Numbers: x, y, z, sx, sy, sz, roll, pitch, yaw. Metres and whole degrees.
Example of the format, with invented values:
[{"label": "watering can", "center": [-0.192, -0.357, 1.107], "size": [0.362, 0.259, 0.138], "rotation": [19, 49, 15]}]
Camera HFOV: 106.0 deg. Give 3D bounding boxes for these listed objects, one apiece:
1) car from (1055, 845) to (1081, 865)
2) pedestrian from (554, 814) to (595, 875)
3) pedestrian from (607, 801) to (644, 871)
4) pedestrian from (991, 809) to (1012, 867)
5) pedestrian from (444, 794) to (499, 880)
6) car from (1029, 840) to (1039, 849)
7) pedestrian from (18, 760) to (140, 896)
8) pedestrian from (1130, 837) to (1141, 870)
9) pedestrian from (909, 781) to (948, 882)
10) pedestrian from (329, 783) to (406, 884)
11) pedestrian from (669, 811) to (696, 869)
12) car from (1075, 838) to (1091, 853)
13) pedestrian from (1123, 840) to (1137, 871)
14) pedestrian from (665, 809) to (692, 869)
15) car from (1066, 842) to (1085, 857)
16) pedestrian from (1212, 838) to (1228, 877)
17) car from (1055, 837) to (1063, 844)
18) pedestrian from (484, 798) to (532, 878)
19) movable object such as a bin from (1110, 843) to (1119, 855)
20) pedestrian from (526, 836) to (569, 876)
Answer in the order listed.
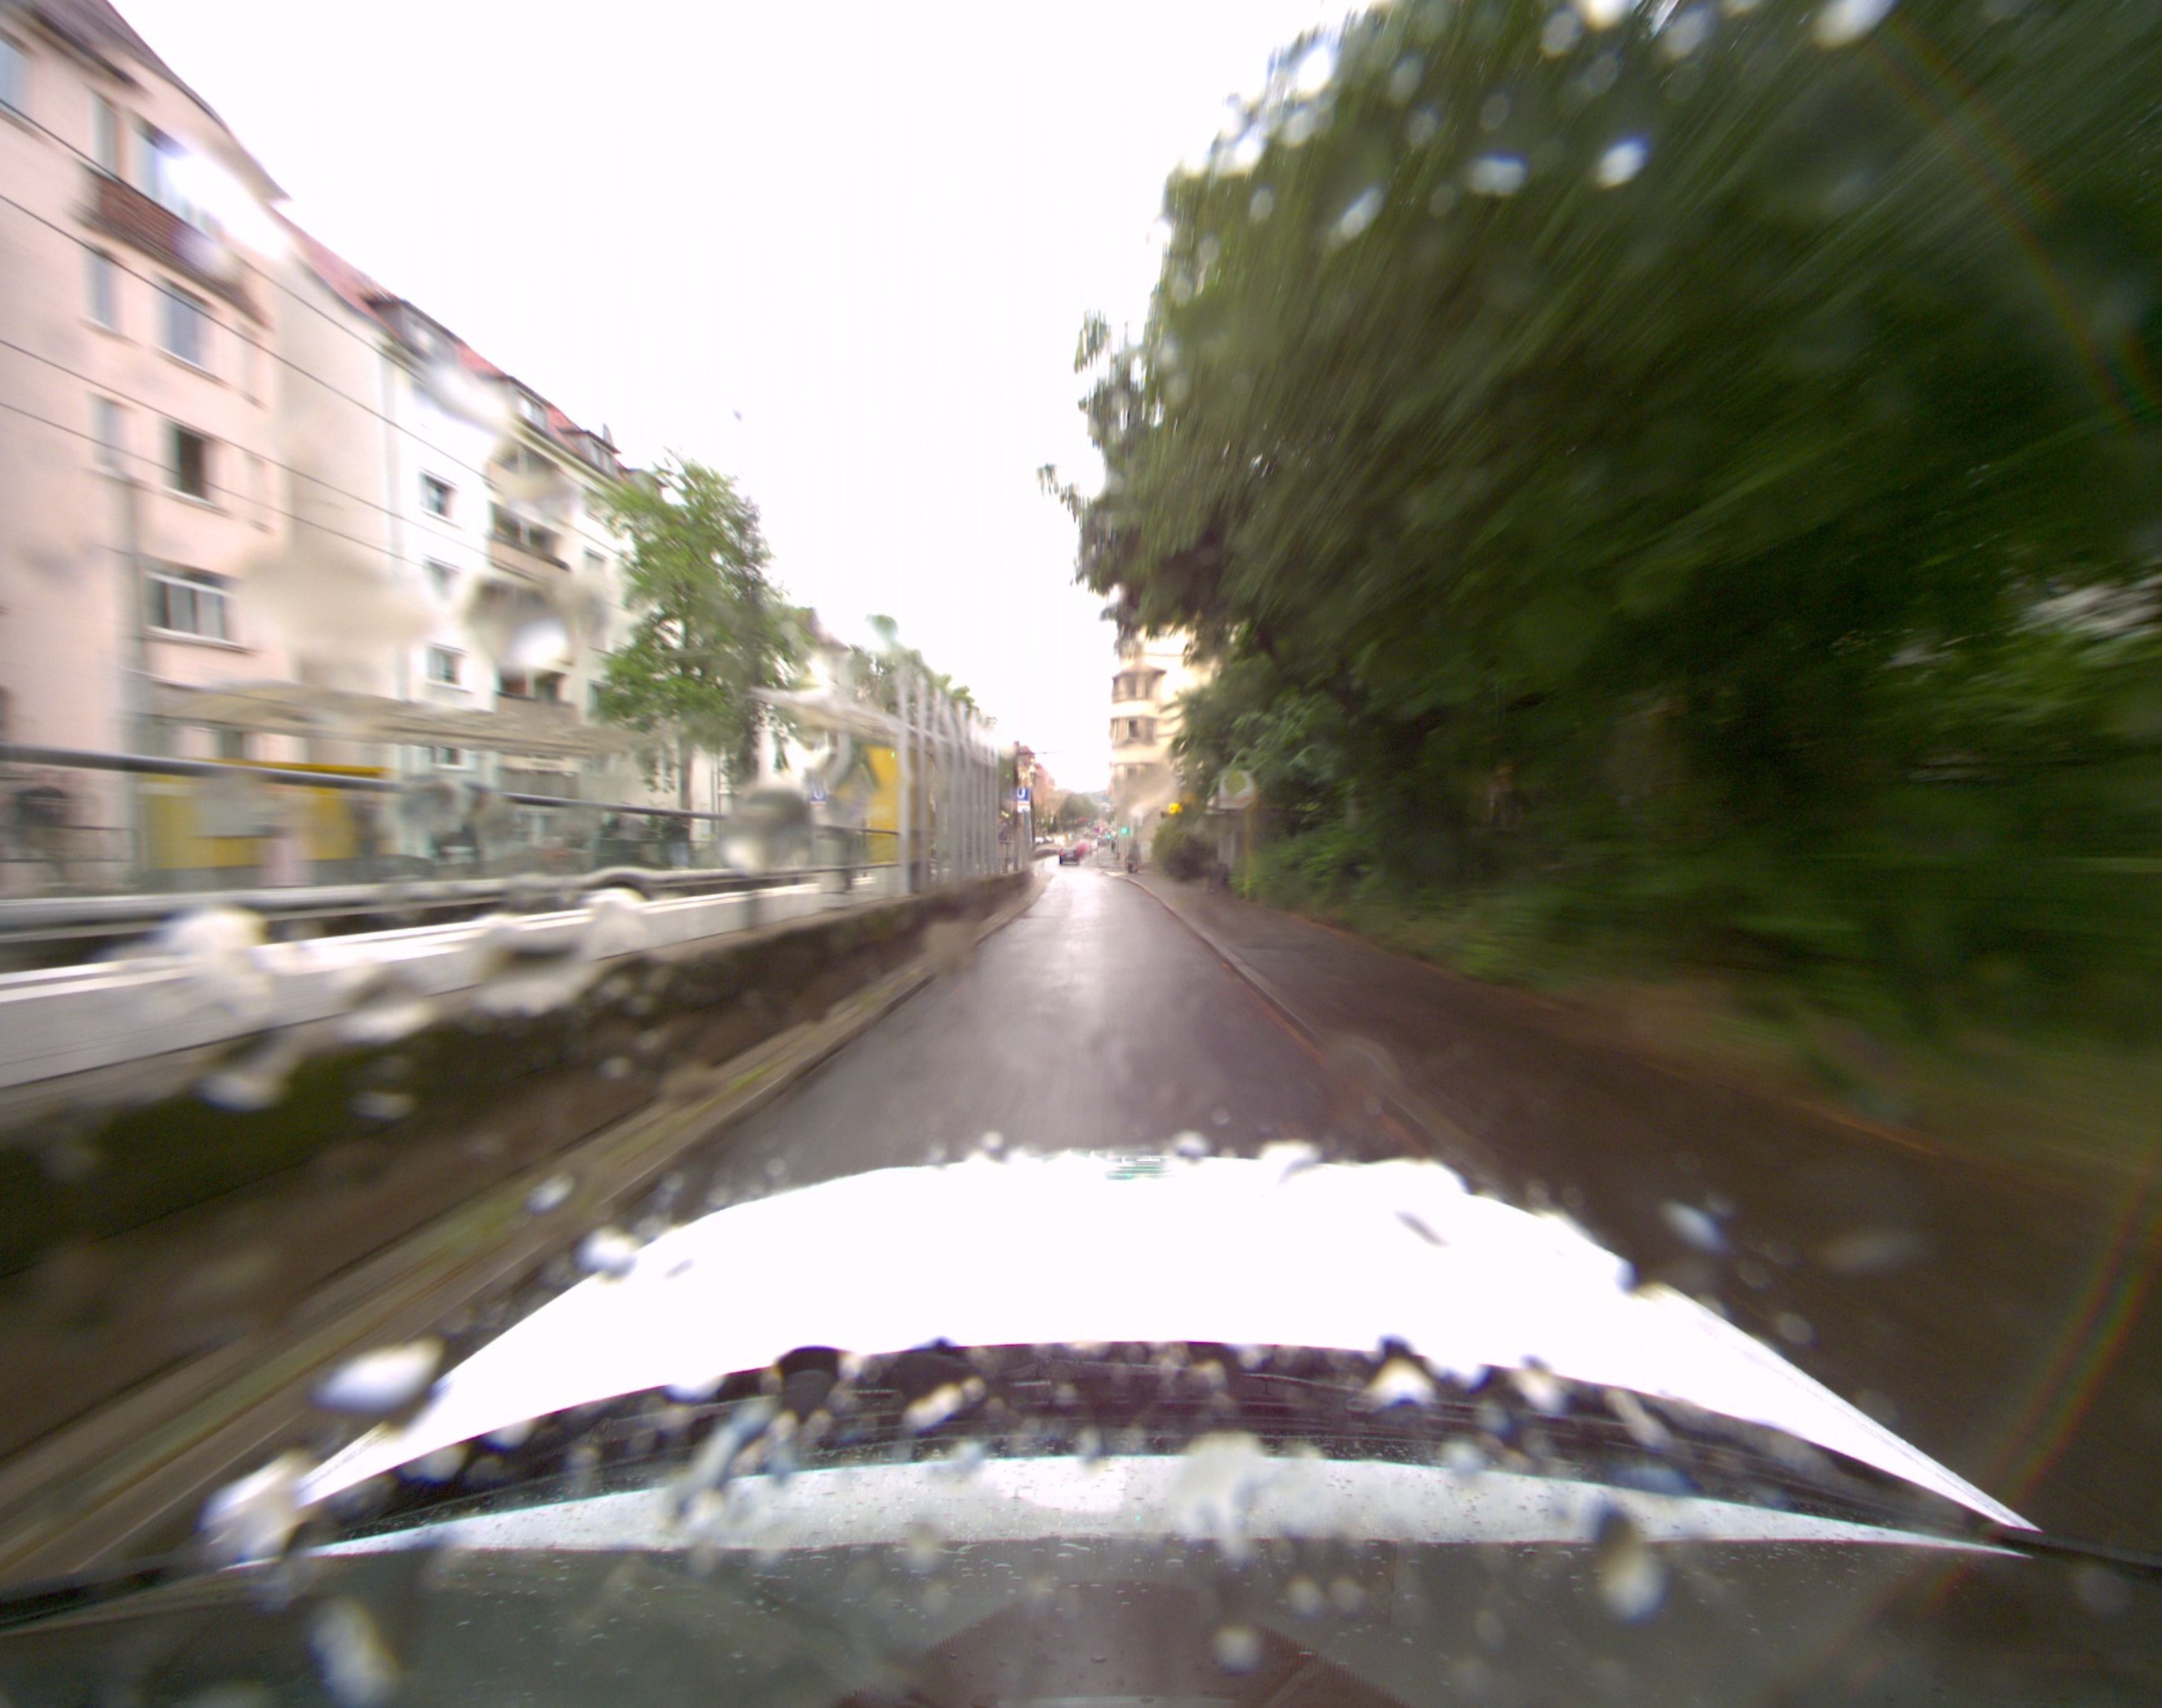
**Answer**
[{"label": "car", "center": [-0.971, 0.060, 62.096], "size": [1.845, 1.473, 4.000], "rotation": [-1, 1, 0]}, {"label": "pedestrian", "center": [-12.078, -0.224, 19.439], "size": [0.548, 1.413, 0.614], "rotation": [-2, 0, 1]}, {"label": "pedestrian", "center": [-11.563, -0.451, 20.683], "size": [0.548, 1.741, 0.614], "rotation": [-2, 0, 1]}, {"label": "pedestrian", "center": [-2.511, -0.503, 25.745], "size": [0.587, 1.807, 0.661], "rotation": [1, 0, 0]}, {"label": "pedestrian", "center": [-12.156, -0.334, 16.256], "size": [0.592, 1.666, 0.591], "rotation": [-2, 0, 1]}, {"label": "car", "center": [-10.713, -2.112, 185.065], "size": [1.987, 2.013, 4.346], "rotation": [-2, 0, 0]}, {"label": "pedestrian", "center": [-12.881, -0.319, 10.493], "size": [0.592, 1.666, 0.762], "rotation": [-2, 0, 1]}, {"label": "pedestrian", "center": [3.045, -0.041, 45.570], "size": [0.552, 1.813, 0.650], "rotation": [0, 0, -1]}, {"label": "pedestrian", "center": [-2.894, -0.428, 15.516], "size": [0.587, 1.881, 0.711], "rotation": [0, 0, 0]}, {"label": "pedestrian", "center": [-12.170, -0.340, 13.906], "size": [0.592, 1.666, 0.762], "rotation": [-2, 0, 1]}, {"label": "pedestrian", "center": [-12.104, -0.424, 24.761], "size": [0.480, 1.741, 0.563], "rotation": [-2, 0, 1]}, {"label": "car", "center": [0.204, -1.076, 100.531], "size": [1.942, 1.793, 4.144], "rotation": [0, 0, 0]}, {"label": "pedestrian", "center": [2.707, 0.098, 44.944], "size": [0.693, 1.695, 0.555], "rotation": [0, 0, -1]}, {"label": "pedestrian", "center": [-11.941, -0.430, 24.168], "size": [0.480, 1.741, 0.563], "rotation": [-2, 0, 1]}, {"label": "car", "center": [-0.548, -0.466, 80.424], "size": [1.846, 1.473, 4.000], "rotation": [0, 0, 0]}, {"label": "pedestrian", "center": [6.158, 0.150, 36.146], "size": [0.600, 1.745, 0.614], "rotation": [1, 0, 0]}, {"label": "car", "center": [-6.197, -3.716, 230.307], "size": [1.987, 2.013, 4.347], "rotation": [-1, 1, 0]}, {"label": "pedestrian", "center": [-12.224, -0.329, 17.386], "size": [0.548, 1.666, 0.614], "rotation": [-2, 0, 1]}, {"label": "movable object such as a bin", "center": [4.860, -0.668, 116.853], "size": [1.165, 1.655, 1.308], "rotation": [-2, 1, -2]}, {"label": "pedestrian", "center": [-12.133, 0.046, 18.540], "size": [0.548, 0.872, 0.614], "rotation": [-2, 0, 1]}]
